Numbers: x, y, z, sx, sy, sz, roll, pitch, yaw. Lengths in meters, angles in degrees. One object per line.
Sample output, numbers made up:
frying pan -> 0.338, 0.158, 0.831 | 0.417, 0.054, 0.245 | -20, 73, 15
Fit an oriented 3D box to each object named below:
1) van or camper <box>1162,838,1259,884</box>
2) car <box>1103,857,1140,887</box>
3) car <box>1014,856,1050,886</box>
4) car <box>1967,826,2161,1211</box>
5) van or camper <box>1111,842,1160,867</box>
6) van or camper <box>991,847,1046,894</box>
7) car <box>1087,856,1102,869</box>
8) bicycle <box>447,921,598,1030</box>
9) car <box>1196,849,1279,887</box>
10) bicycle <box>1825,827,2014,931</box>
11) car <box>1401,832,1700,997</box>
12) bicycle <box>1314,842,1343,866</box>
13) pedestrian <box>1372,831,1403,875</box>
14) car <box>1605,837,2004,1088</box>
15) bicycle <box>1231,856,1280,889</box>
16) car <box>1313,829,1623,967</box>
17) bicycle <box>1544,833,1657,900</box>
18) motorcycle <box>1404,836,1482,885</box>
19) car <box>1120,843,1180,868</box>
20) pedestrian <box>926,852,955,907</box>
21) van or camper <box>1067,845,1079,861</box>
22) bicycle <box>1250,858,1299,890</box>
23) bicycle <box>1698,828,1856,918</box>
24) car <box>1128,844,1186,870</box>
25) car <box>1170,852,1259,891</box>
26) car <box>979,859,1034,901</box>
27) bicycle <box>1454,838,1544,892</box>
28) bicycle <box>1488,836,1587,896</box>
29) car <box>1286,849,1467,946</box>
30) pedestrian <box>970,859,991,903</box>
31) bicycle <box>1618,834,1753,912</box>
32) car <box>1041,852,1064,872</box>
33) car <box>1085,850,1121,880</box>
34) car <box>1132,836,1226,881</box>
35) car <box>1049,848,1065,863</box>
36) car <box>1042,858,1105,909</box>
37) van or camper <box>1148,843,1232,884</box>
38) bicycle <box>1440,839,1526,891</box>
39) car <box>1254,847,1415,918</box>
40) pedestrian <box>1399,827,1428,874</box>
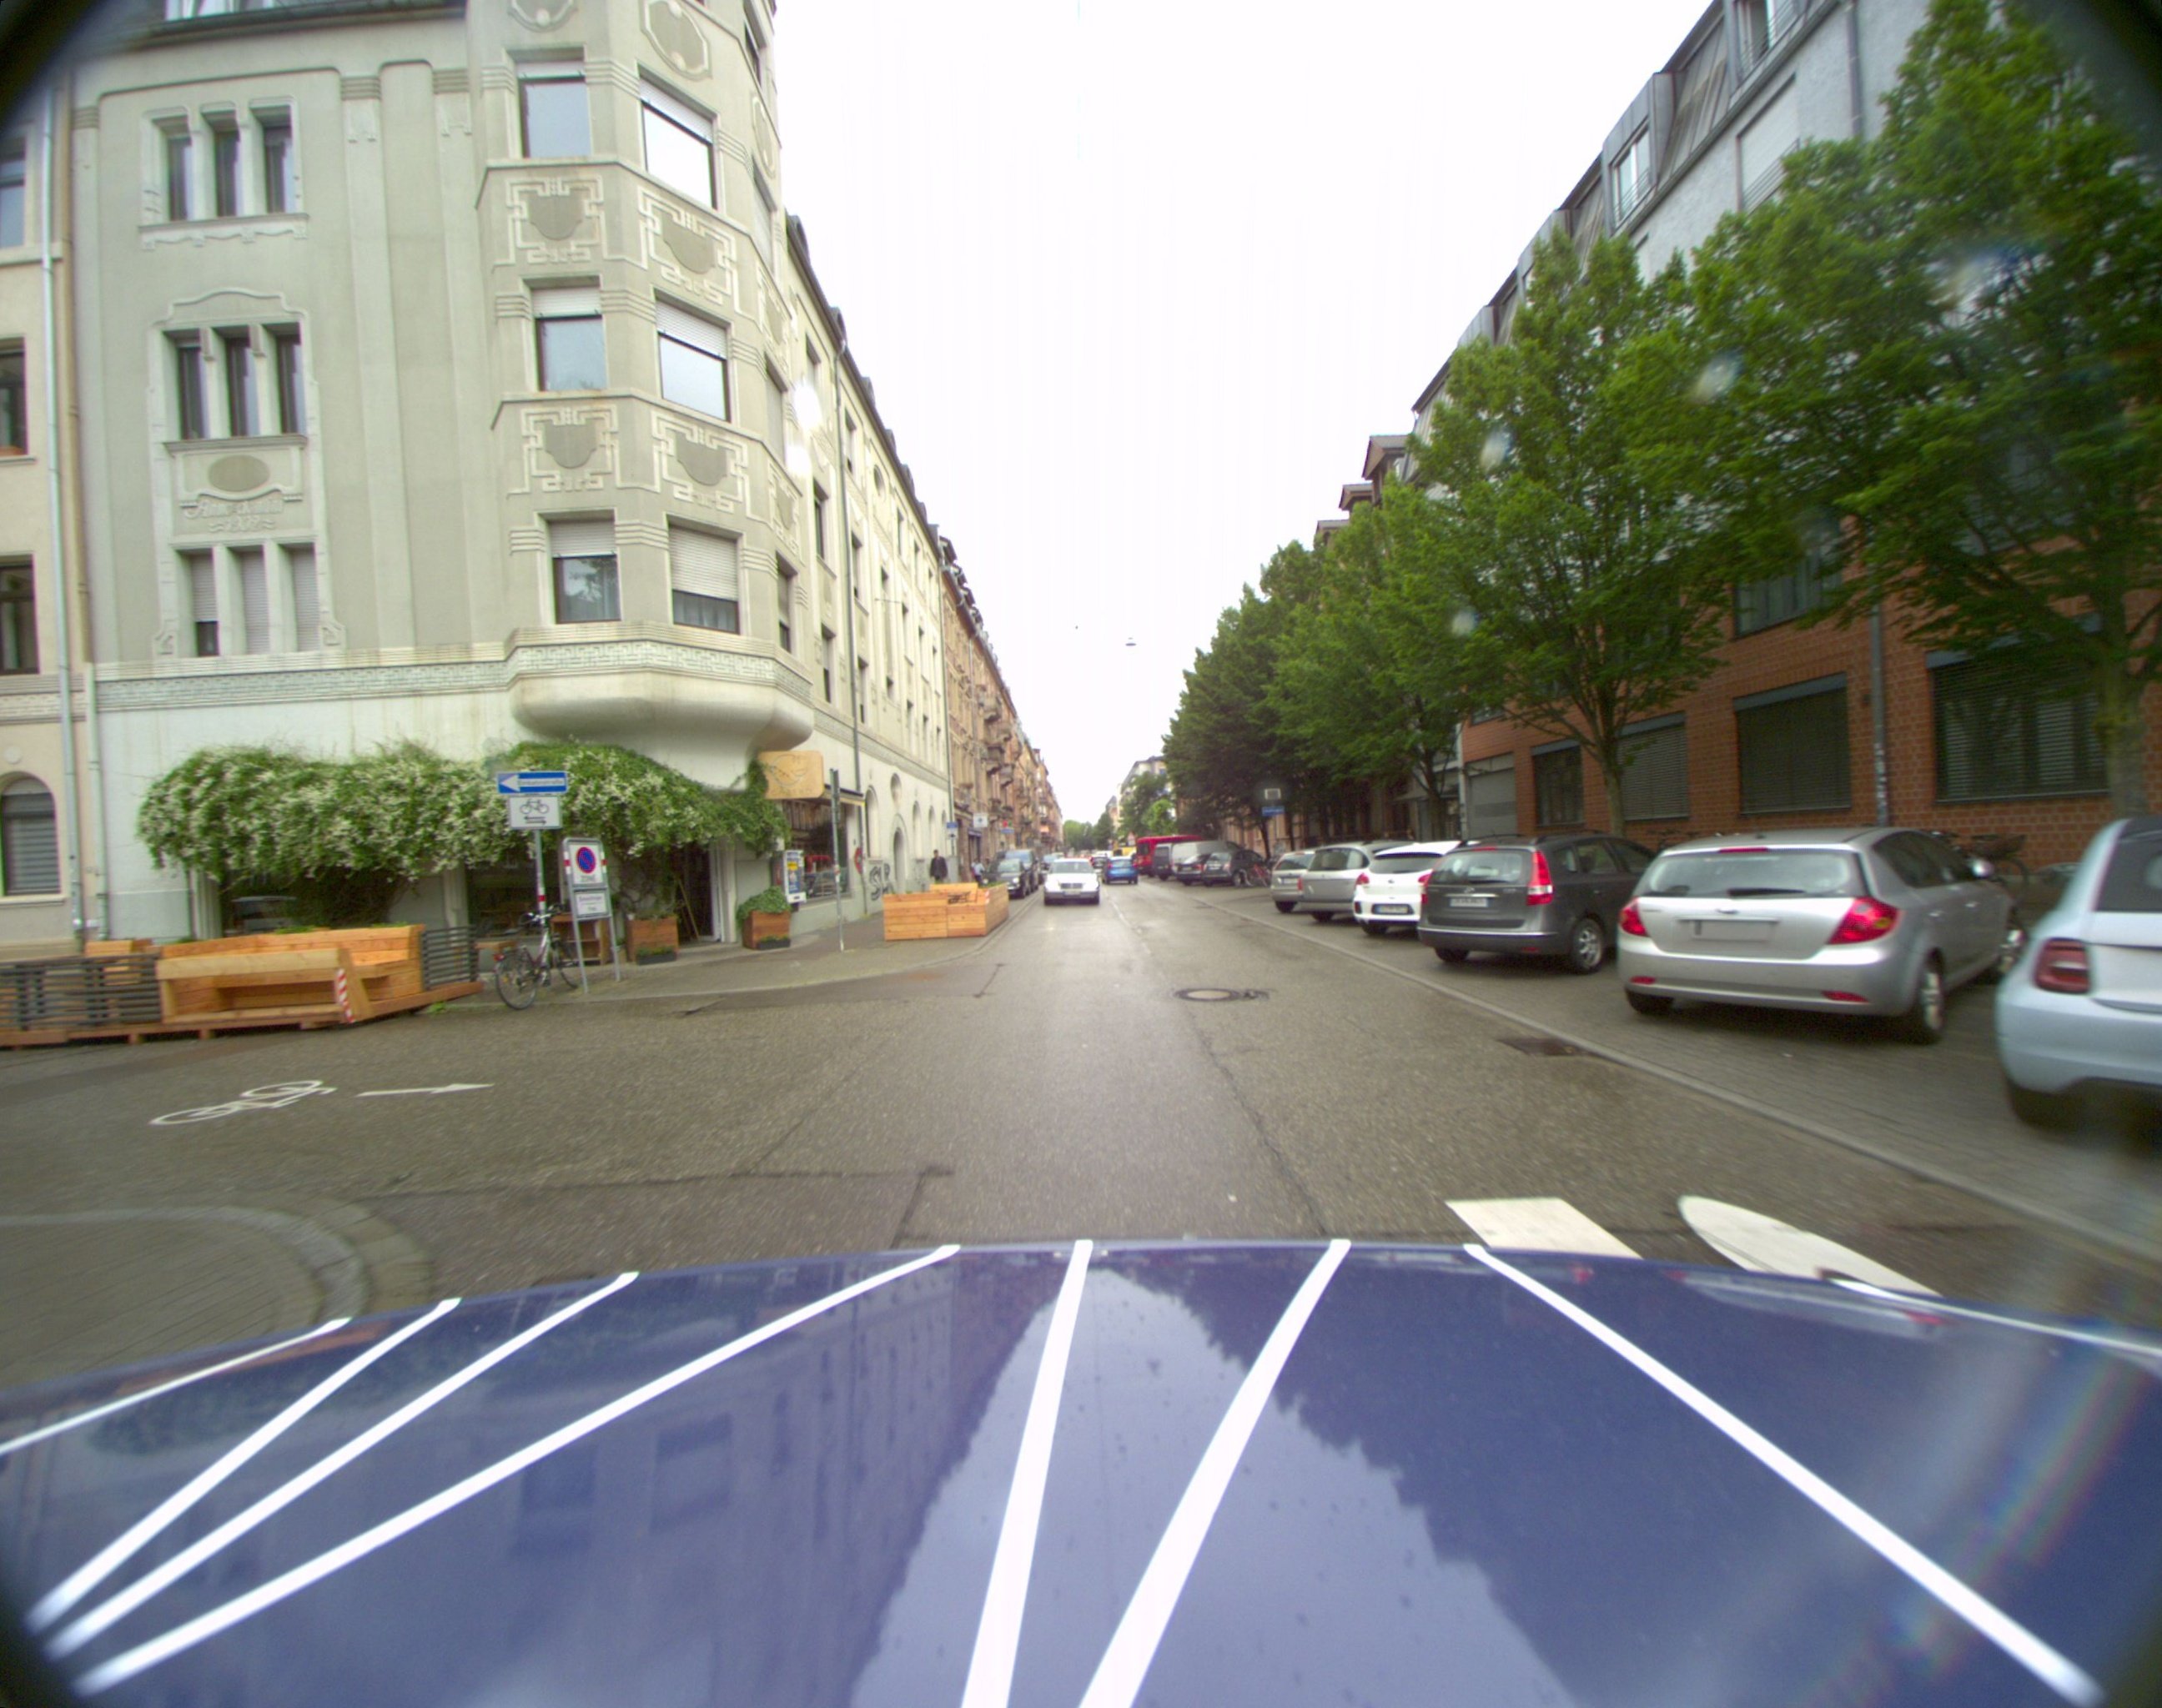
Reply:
van or camper -> 6.687, 0.351, 39.009 | 4.706, 1.941, 2.331 | -5, 0, -41
car -> 2.127, 0.918, 40.881 | 1.674, 1.457, 4.002 | -2, 0, -1
car -> -2.753, 0.911, 43.433 | 1.846, 1.536, 4.002 | -2, 0, -1
car -> 6.097, 0.643, 3.716 | 3.391, 1.499, 1.677 | -4, 1, -30
van or camper -> 5.922, 0.073, 82.377 | 4.733, 2.254, 2.180 | -5, 0, -32
van or camper -> -2.692, 0.677, 33.991 | 2.027, 1.880, 5.054 | -2, 0, 0
car -> 1.840, 1.167, 102.155 | 1.863, 1.650, 5.008 | -2, 0, 0
bicycle -> -7.096, 1.501, 9.782 | 0.453, 0.974, 1.919 | -3, 3, 0
car -> 6.628, 0.581, 32.046 | 3.487, 1.427, 1.647 | -2, 0, -42
bicycle -> 11.293, 0.325, 10.262 | 1.901, 1.145, 0.553 | -7, 1, -2
car -> 5.759, 0.605, 9.265 | 3.391, 1.533, 1.677 | -4, 1, -31
bicycle -> 13.145, -0.011, 40.459 | 0.669, 1.186, 2.413 | -7, 0, 1
pedestrian -> 10.997, -0.036, 27.274 | 0.690, 1.488, 0.587 | -6, 1, -5
car -> 6.165, 0.684, 6.405 | 3.391, 1.449, 1.677 | -4, 1, -33
bicycle -> 6.558, 0.691, 28.666 | 0.751, 1.151, 2.218 | -3, -1, -16
car -> 6.441, 0.583, 12.614 | 4.530, 1.531, 2.332 | -7, 3, -28
bicycle -> 10.793, 0.251, 15.813 | 1.901, 1.145, 0.553 | -7, 1, -2
motorcycle -> 10.876, 0.184, 22.857 | 1.886, 1.218, 0.657 | -7, 0, 3
car -> 6.510, 0.141, 71.146 | 5.259, 2.066, 1.866 | -4, 1, -24
pedestrian -> -5.049, 0.913, 27.310 | 0.827, 1.940, 0.415 | -3, 3, 1
van or camper -> -1.785, -0.164, 165.467 | 2.411, 3.308, 7.072 | -3, 0, -1
bicycle -> 7.324, 0.772, 28.888 | 0.784, 1.151, 2.144 | -3, -1, -16
bicycle -> 10.841, 0.288, 11.862 | 1.901, 1.145, 0.553 | -7, 1, -2
car -> 6.492, 0.283, 65.611 | 4.590, 1.775, 2.545 | -5, 0, -1
car -> 6.118, 0.777, 34.741 | 3.985, 1.438, 1.763 | -5, 1, -40
car -> -2.737, 0.939, 28.656 | 1.714, 1.392, 3.704 | -2, 0, -1
bicycle -> 10.638, 0.269, 19.368 | 1.901, 1.145, 0.553 | -7, 1, -2
bicycle -> 10.680, 0.277, 17.803 | 1.901, 1.145, 0.553 | -7, 1, -2
car -> 5.881, 0.771, 15.058 | 3.392, 1.645, 1.630 | -2, 1, -33
pedestrian -> -4.705, 1.240, 35.517 | 0.827, 2.003, 0.415 | -3, 3, 1
bicycle -> 10.778, 0.334, 13.565 | 1.901, 1.145, 0.553 | -7, 1, -2
car -> -2.704, 0.705, 73.061 | 1.999, 1.769, 4.825 | -2, 0, -1
car -> 1.696, 0.846, 56.619 | 1.672, 1.547, 4.016 | -3, -11, 17
car -> 6.322, 0.260, 48.683 | 5.580, 2.526, 2.225 | -3, 0, -27
car -> -3.282, 0.134, 103.294 | 1.999, 1.927, 5.228 | -1, 1, -3
car -> -0.307, 0.921, 25.716 | 1.859, 1.390, 4.979 | -3, 0, -2
van or camper -> 6.092, 0.508, 42.274 | 4.454, 1.964, 1.777 | -5, 1, -33
bicycle -> 10.664, 0.287, 20.192 | 1.901, 1.145, 0.553 | -7, 1, -2
car -> 6.021, 0.607, 17.936 | 3.720, 1.443, 1.681 | -2, 0, -35
pedestrian -> 11.922, -0.124, 27.251 | 0.568, 1.593, 0.589 | -6, 1, -5
